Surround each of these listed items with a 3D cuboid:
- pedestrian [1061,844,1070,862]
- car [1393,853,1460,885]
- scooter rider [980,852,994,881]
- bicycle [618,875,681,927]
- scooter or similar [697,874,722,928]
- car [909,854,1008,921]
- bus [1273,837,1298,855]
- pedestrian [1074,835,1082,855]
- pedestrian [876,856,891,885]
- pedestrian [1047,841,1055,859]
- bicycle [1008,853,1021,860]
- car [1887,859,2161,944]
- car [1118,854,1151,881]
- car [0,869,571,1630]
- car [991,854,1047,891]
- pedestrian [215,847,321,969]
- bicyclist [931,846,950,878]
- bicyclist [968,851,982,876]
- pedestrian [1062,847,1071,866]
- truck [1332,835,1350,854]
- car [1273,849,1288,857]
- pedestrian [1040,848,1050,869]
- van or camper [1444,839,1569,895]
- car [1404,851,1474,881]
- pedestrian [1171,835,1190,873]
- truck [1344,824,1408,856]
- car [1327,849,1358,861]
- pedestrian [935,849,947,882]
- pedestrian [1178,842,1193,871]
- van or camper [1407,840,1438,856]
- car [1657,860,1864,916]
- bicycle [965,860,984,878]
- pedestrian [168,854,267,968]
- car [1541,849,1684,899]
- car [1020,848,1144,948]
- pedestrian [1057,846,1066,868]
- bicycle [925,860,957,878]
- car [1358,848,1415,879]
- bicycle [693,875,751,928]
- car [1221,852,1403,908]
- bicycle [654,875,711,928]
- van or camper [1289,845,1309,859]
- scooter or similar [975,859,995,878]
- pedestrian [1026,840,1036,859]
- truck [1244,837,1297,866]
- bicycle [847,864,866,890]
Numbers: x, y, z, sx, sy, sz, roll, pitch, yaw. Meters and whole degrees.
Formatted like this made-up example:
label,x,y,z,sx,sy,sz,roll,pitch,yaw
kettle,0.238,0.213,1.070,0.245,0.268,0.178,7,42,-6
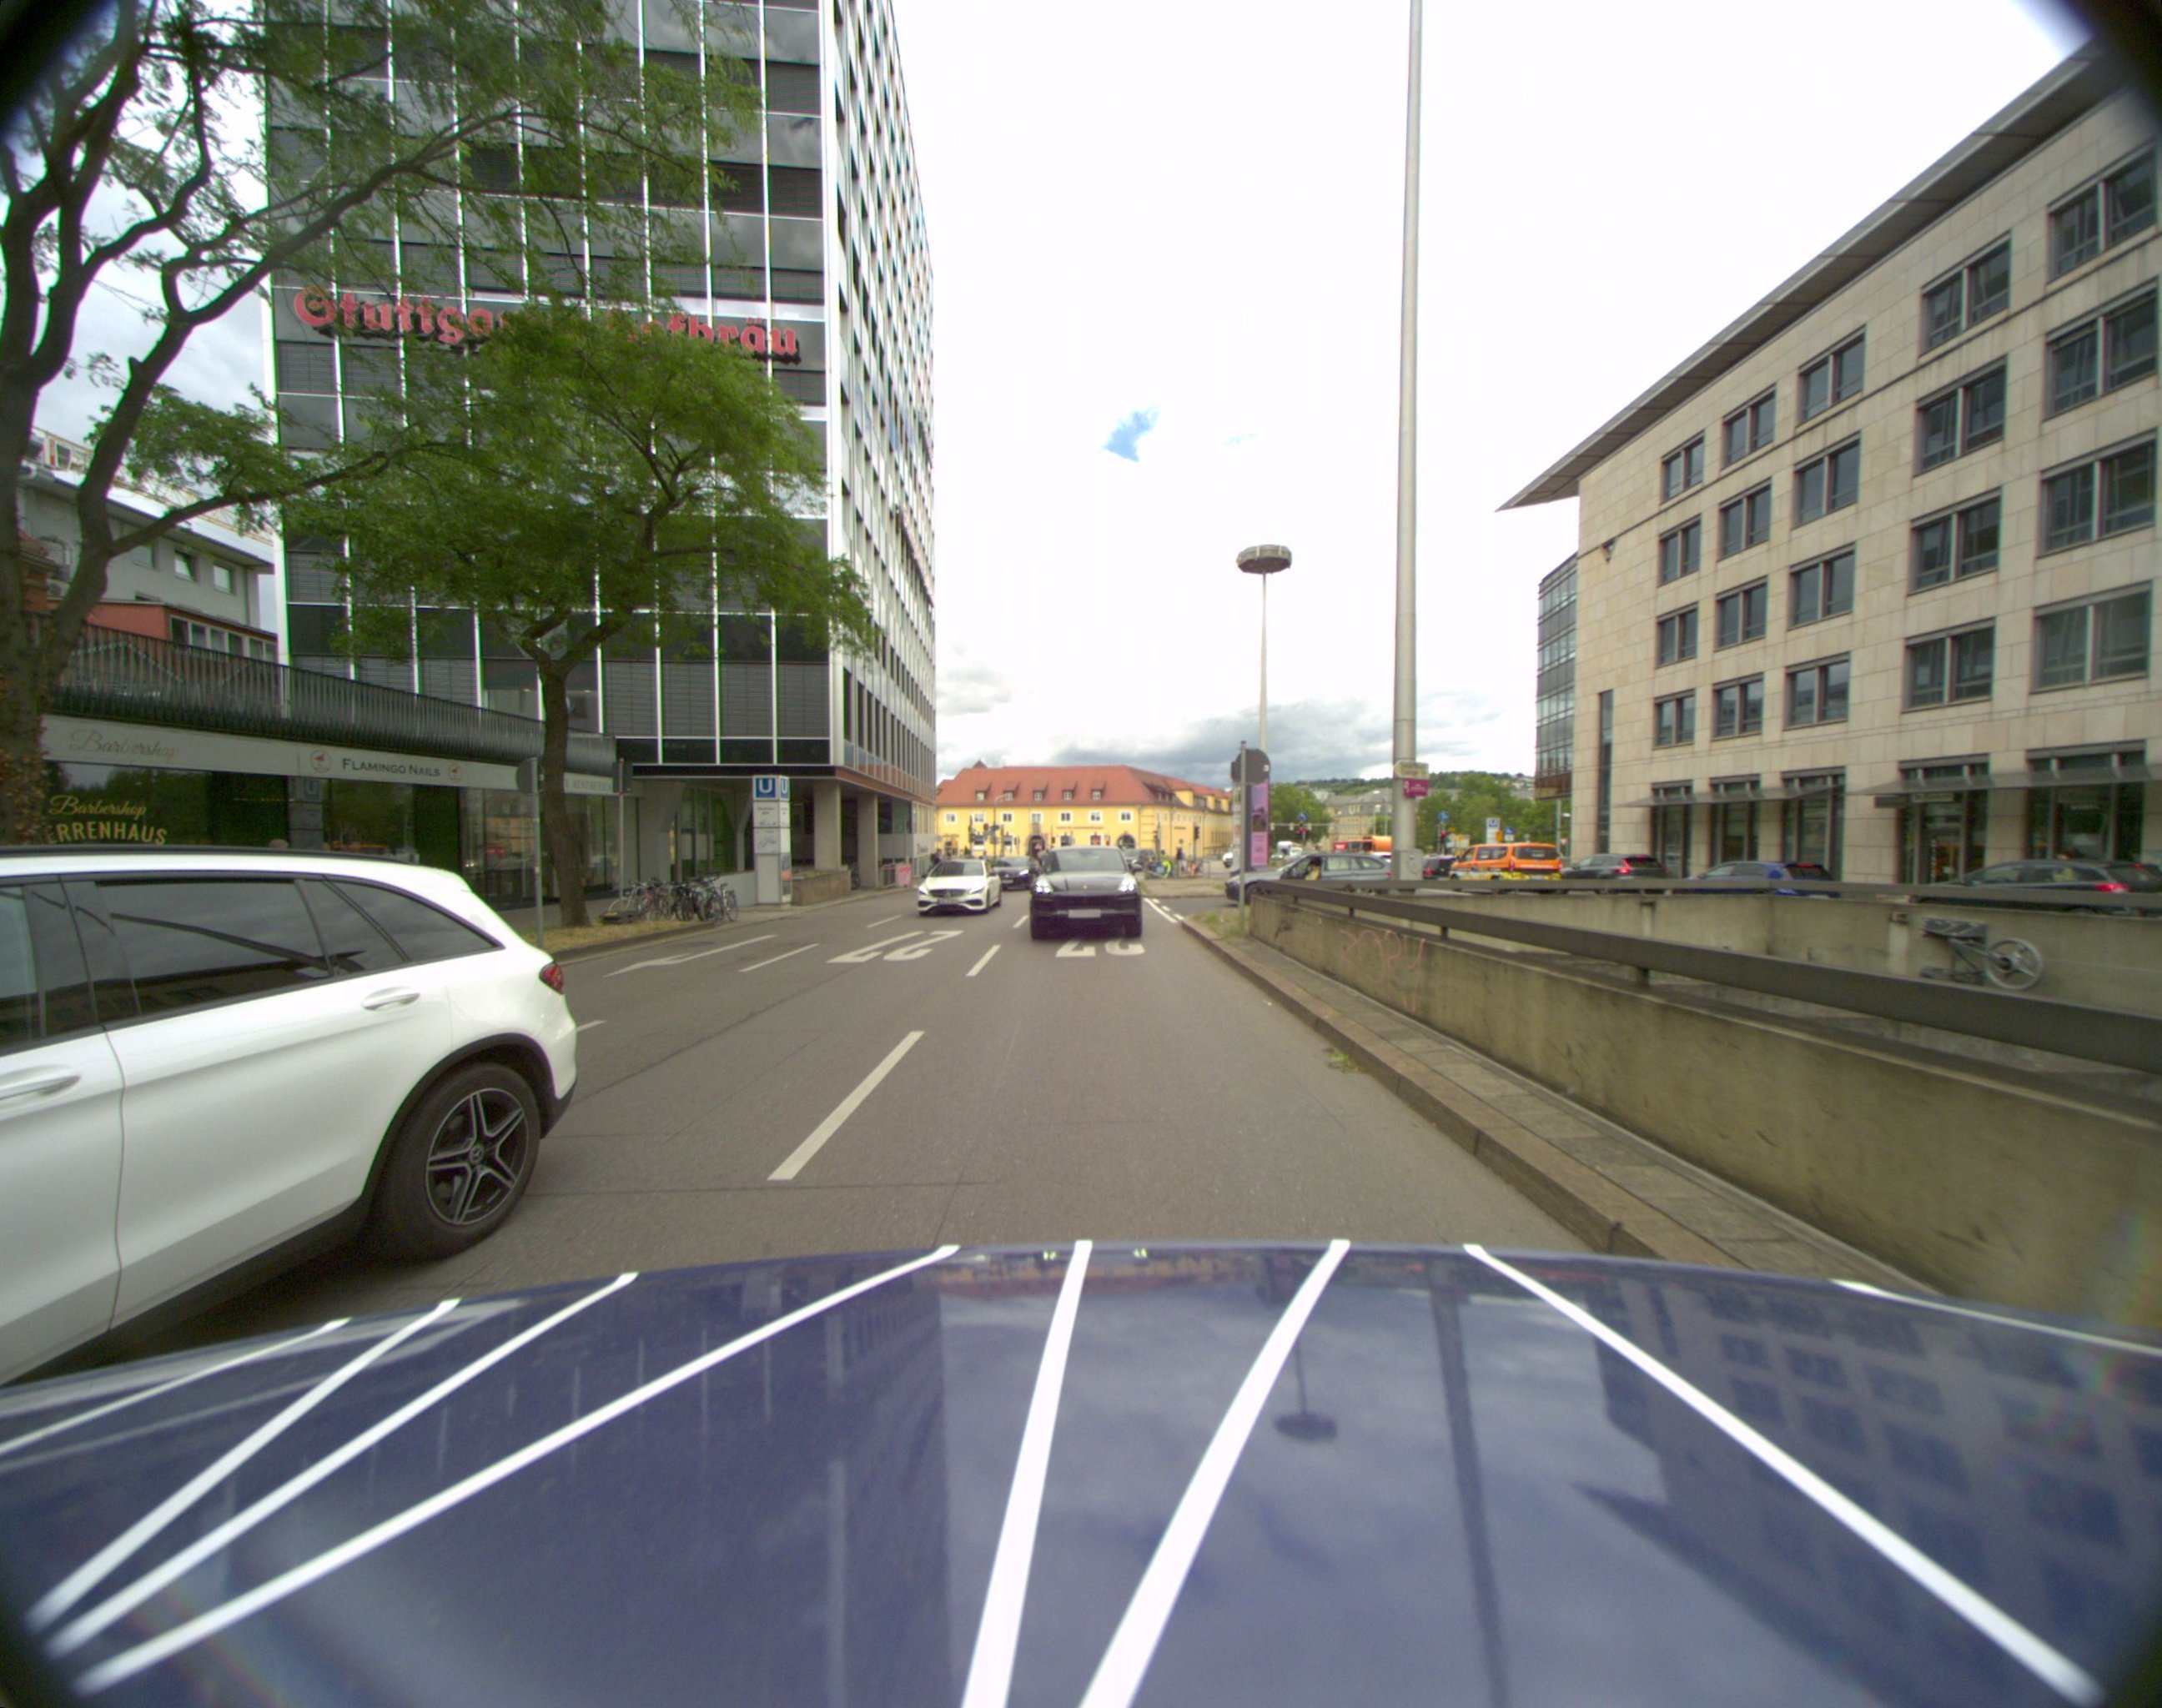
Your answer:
label,x,y,z,sx,sy,sz,roll,pitch,yaw
pedestrian,-1.476,-0.124,70.664,0.611,1.686,0.641,-1,1,-23
car,16.228,0.688,35.882,1.560,1.371,3.633,1,1,2
scooter rider,-5.876,0.786,47.360,0.594,1.798,0.641,-1,2,-41
bicycle,-10.316,1.095,18.224,0.490,1.126,1.688,0,1,1
scooter or similar,-8.971,1.113,18.372,0.307,1.244,0.995,0,1,-12
car,-3.204,0.802,20.737,1.870,1.560,4.651,-1,1,1
bus,38.508,-1.547,142.677,3.428,3.185,13.081,-1,1,20
pedestrian,-0.298,-0.882,73.070,0.611,1.944,0.642,-1,1,-20
pedestrian,-10.200,0.849,39.197,0.606,1.434,0.838,1,1,-4
pedestrian,-2.836,-0.407,71.473,0.611,1.686,0.641,-1,1,-23
bicycle,-9.314,0.351,106.218,1.769,1.079,0.621,0,1,10
car,19.588,0.877,15.599,1.773,1.440,4.030,2,1,1
car,4.440,1.039,62.403,1.857,1.977,4.646,1,2,15
car,-3.355,0.939,1.472,1.806,1.637,4.333,1,1,0
car,-2.669,0.758,33.373,1.706,1.524,3.765,0,0,7
pedestrian,-12.095,0.766,11.338,0.597,1.744,0.940,0,1,-5
bicyclist,-8.263,0.442,44.692,0.812,1.835,0.676,2,2,25
bicyclist,-6.461,0.570,46.265,0.566,1.541,0.844,0,2,-28
pedestrian,-1.371,0.228,71.729,0.611,1.786,0.641,-1,1,-23
truck,49.385,-1.693,144.218,2.785,3.470,8.363,1,1,22
car,34.270,-0.170,130.469,1.824,1.401,4.006,1,1,22
pedestrian,-3.218,0.400,67.830,0.670,1.852,0.701,-1,1,-20
van or camper,16.001,0.436,28.946,1.918,1.910,5.083,1,1,0
car,19.497,0.599,41.588,1.998,1.516,4.091,0,1,2
pedestrian,5.716,0.023,43.694,0.879,2.160,0.761,0,1,-17
truck,35.313,-1.745,90.788,9.194,3.597,2.720,-3,4,-38
car,34.401,0.100,100.113,3.802,1.567,2.002,0,1,17
pedestrian,-7.434,0.608,40.390,0.526,1.702,0.752,1,3,-5
pedestrian,6.593,0.153,47.949,0.717,1.780,0.634,3,0,0
van or camper,58.051,-1.018,129.256,6.174,2.463,2.140,1,2,-40
car,19.451,0.899,22.093,1.998,1.387,4.573,0,1,2
bicycle,-6.505,0.879,46.357,0.582,1.021,1.665,0,2,-28
pedestrian,-12.746,0.817,11.244,0.597,1.619,0.757,0,1,-5
car,19.430,0.669,28.107,1.998,1.636,4.682,1,1,0
car,0.145,0.712,14.965,2.004,1.629,5.021,-1,0,3
pedestrian,-1.801,0.280,69.203,0.611,1.953,0.641,-1,1,-23
bicycle,-8.222,0.877,44.663,1.763,1.001,0.682,1,-1,26
car,16.883,0.495,42.200,1.738,1.589,4.320,0,1,4
bicycle,-8.451,1.093,17.944,0.490,1.126,1.843,0,1,0
car,6.164,0.672,20.809,4.558,1.450,1.882,0,1,9
bicycle,-9.426,1.099,18.039,0.491,1.126,1.886,0,1,-5
van or camper,37.434,-0.375,130.380,2.369,2.249,6.298,1,1,25
scooter or similar,-5.999,0.900,47.505,0.594,1.169,1.319,-1,2,-41
pedestrian,-4.445,-0.406,67.328,0.802,1.688,0.547,0,1,-18
truck,18.654,-0.233,74.694,5.801,2.768,1.951,0,1,-41
bicycle,-9.845,0.993,33.297,0.715,1.042,1.483,-1,1,-20
